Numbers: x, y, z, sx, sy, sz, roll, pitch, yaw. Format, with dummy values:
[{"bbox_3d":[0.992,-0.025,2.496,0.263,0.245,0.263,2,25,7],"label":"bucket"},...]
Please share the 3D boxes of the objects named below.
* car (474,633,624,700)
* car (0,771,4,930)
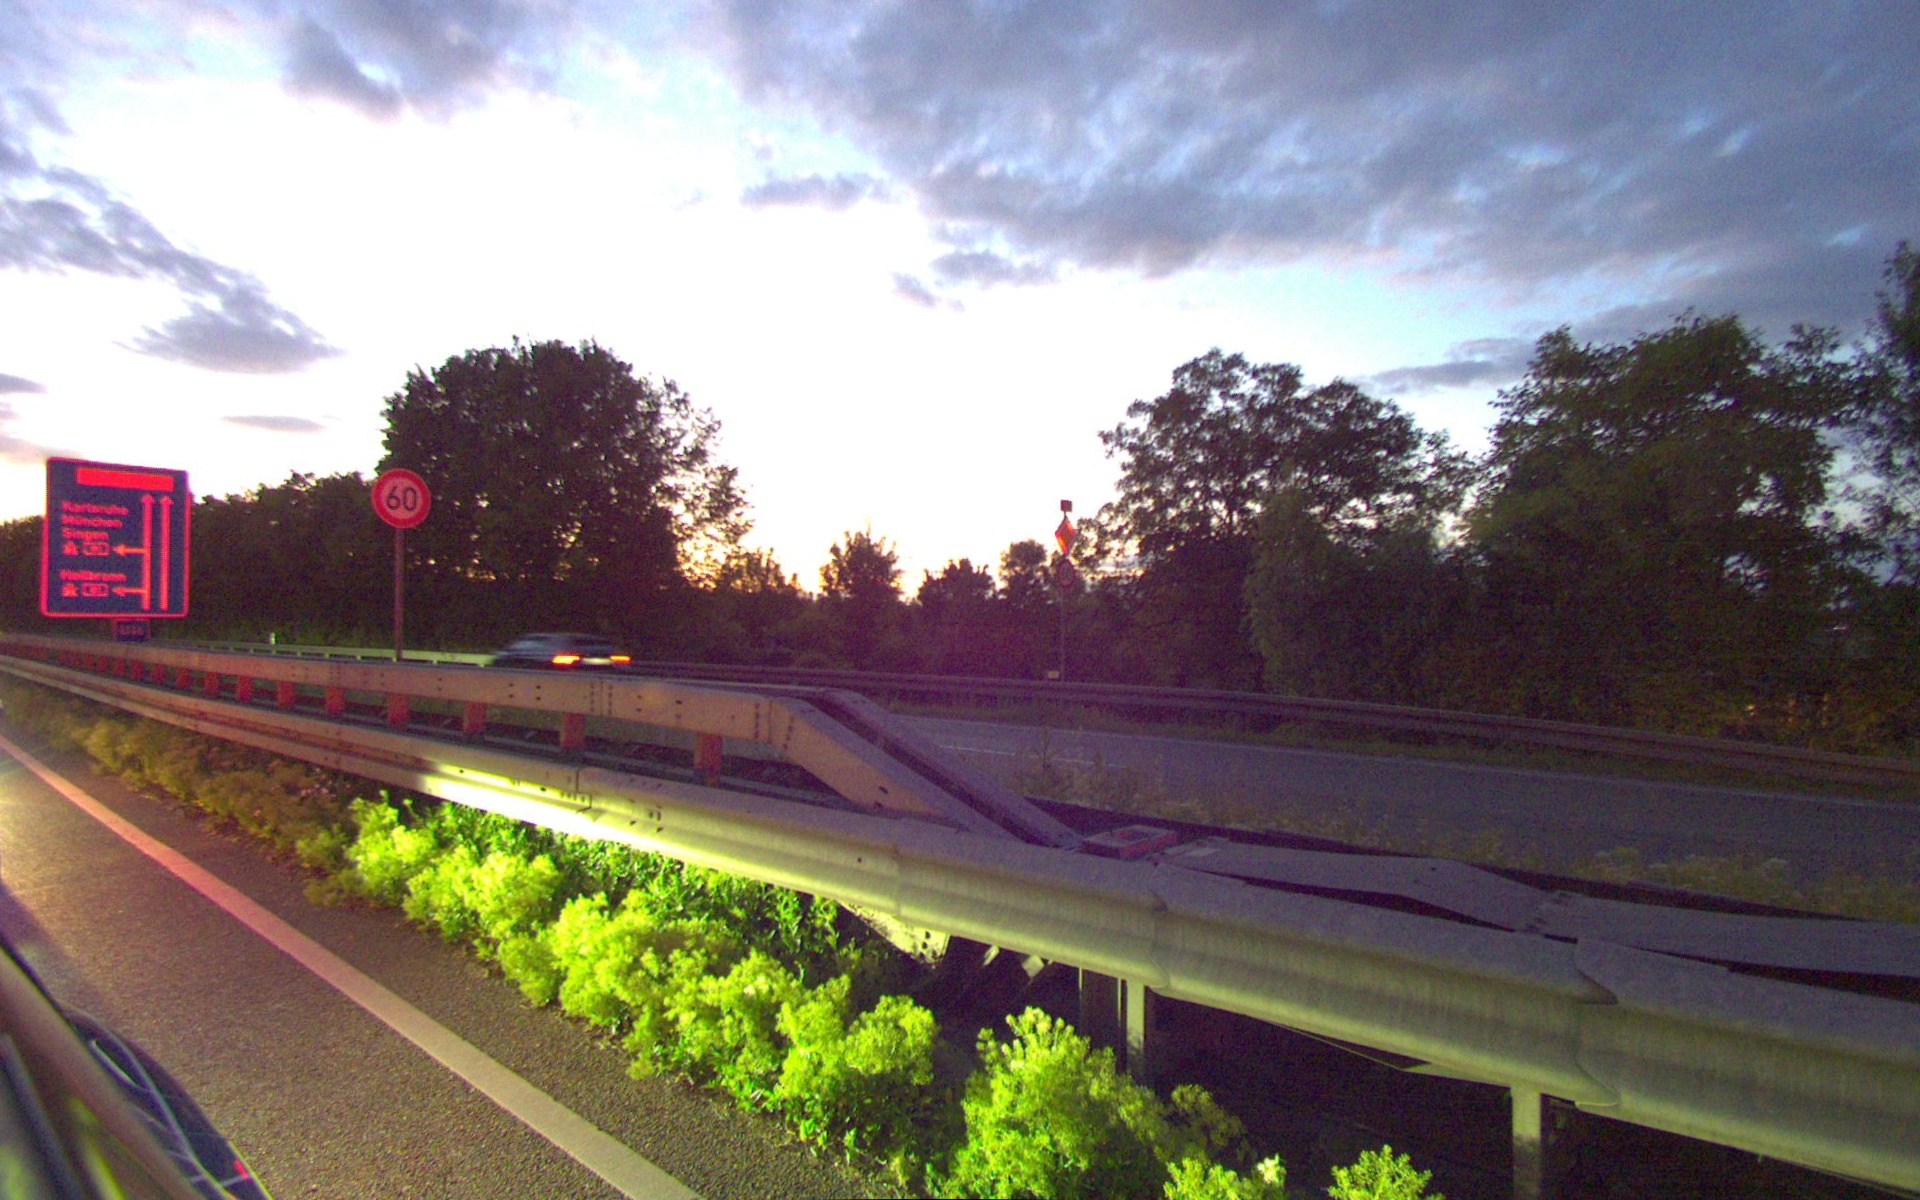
[{"bbox_3d":[-10.332,1.595,25.286,4.590,1.516,1.611,-1,-3,42],"label":"car"},{"bbox_3d":[-6.734,0.877,5.556,4.645,1.447,1.795,-2,-1,42],"label":"car"}]
